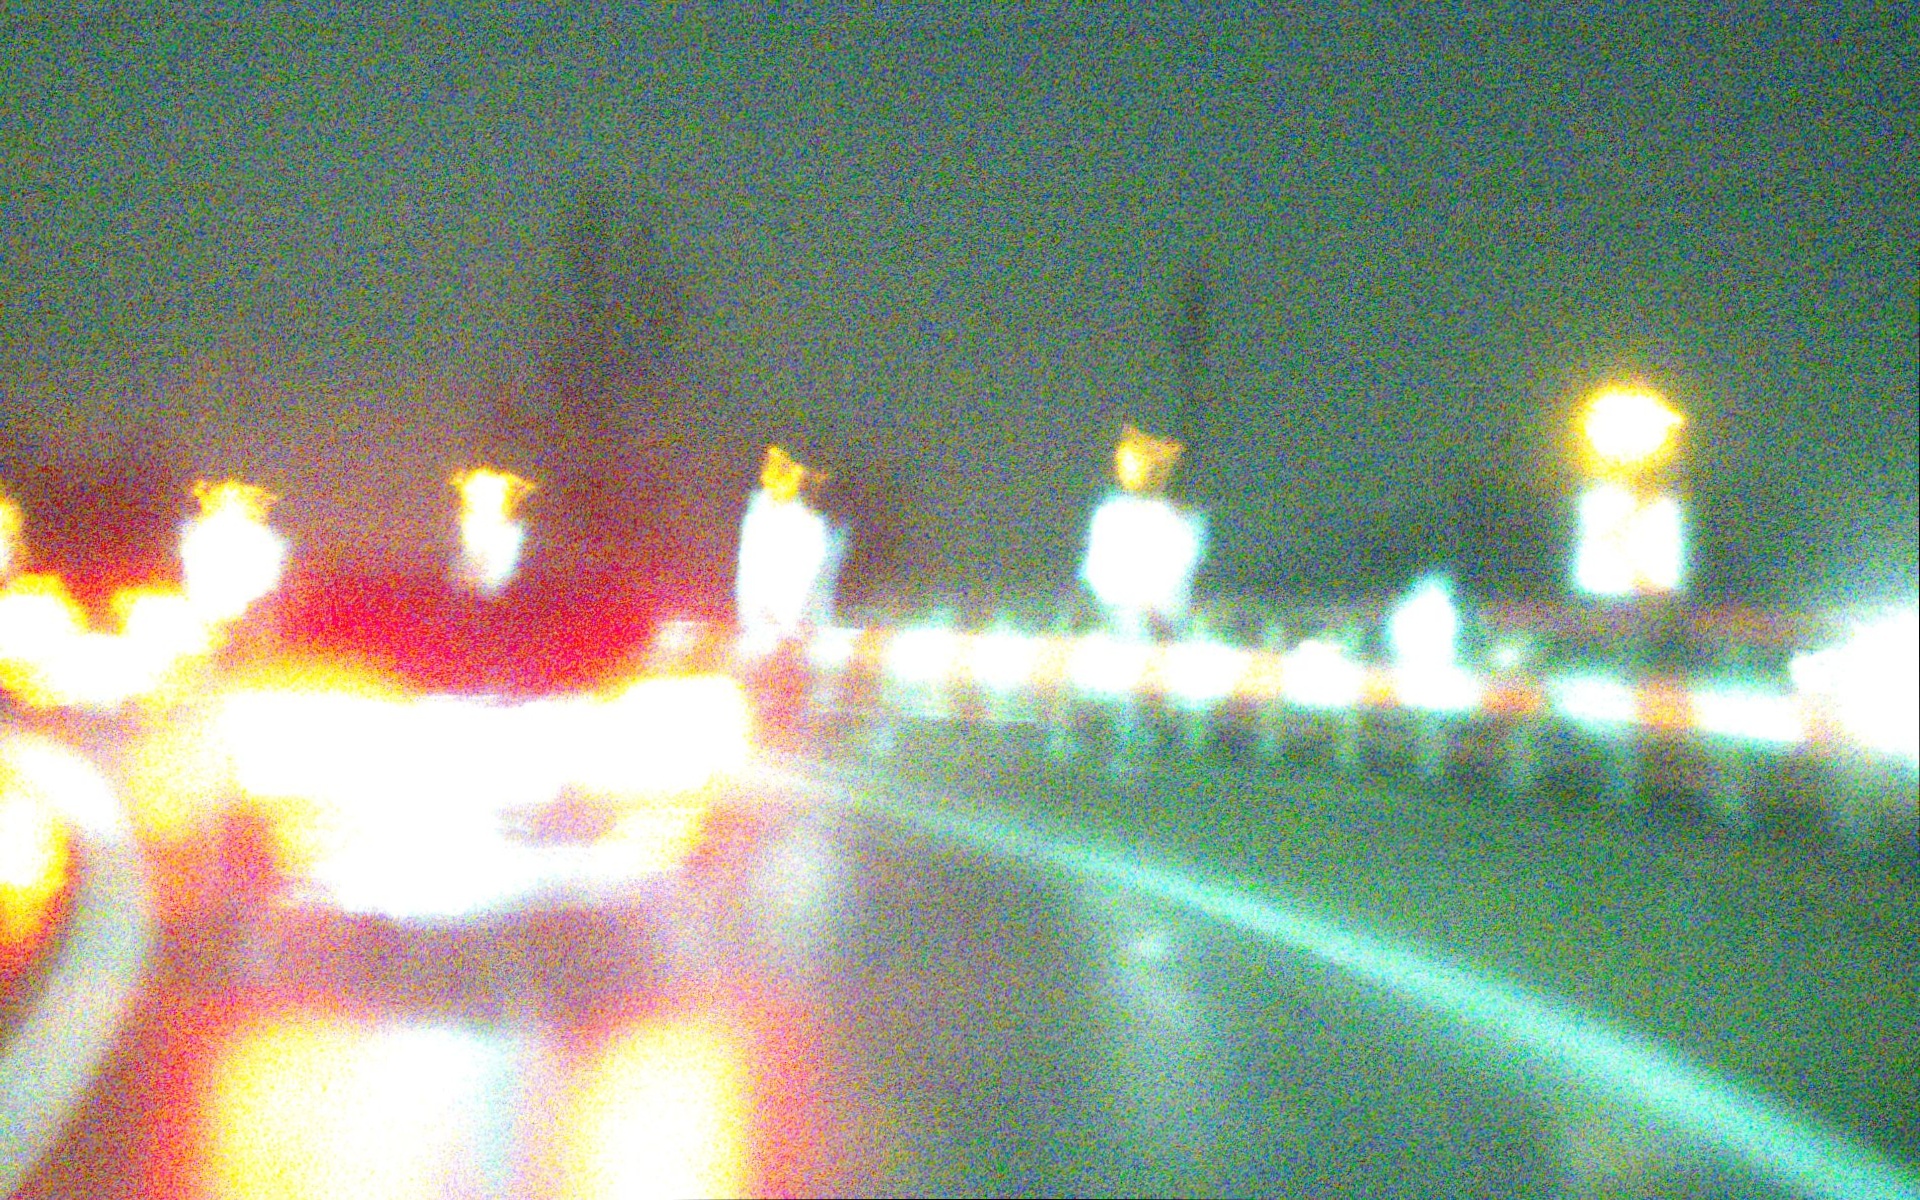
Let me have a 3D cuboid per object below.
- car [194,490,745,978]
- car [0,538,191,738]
[{"bbox_3d":[-2.037,0.429,13.888,1.860,1.641,4.070,-1,1,-10],"label":"car"},{"bbox_3d":[-8.374,0.296,31.665,1.895,1.714,4.047,0,1,-22],"label":"car"}]
